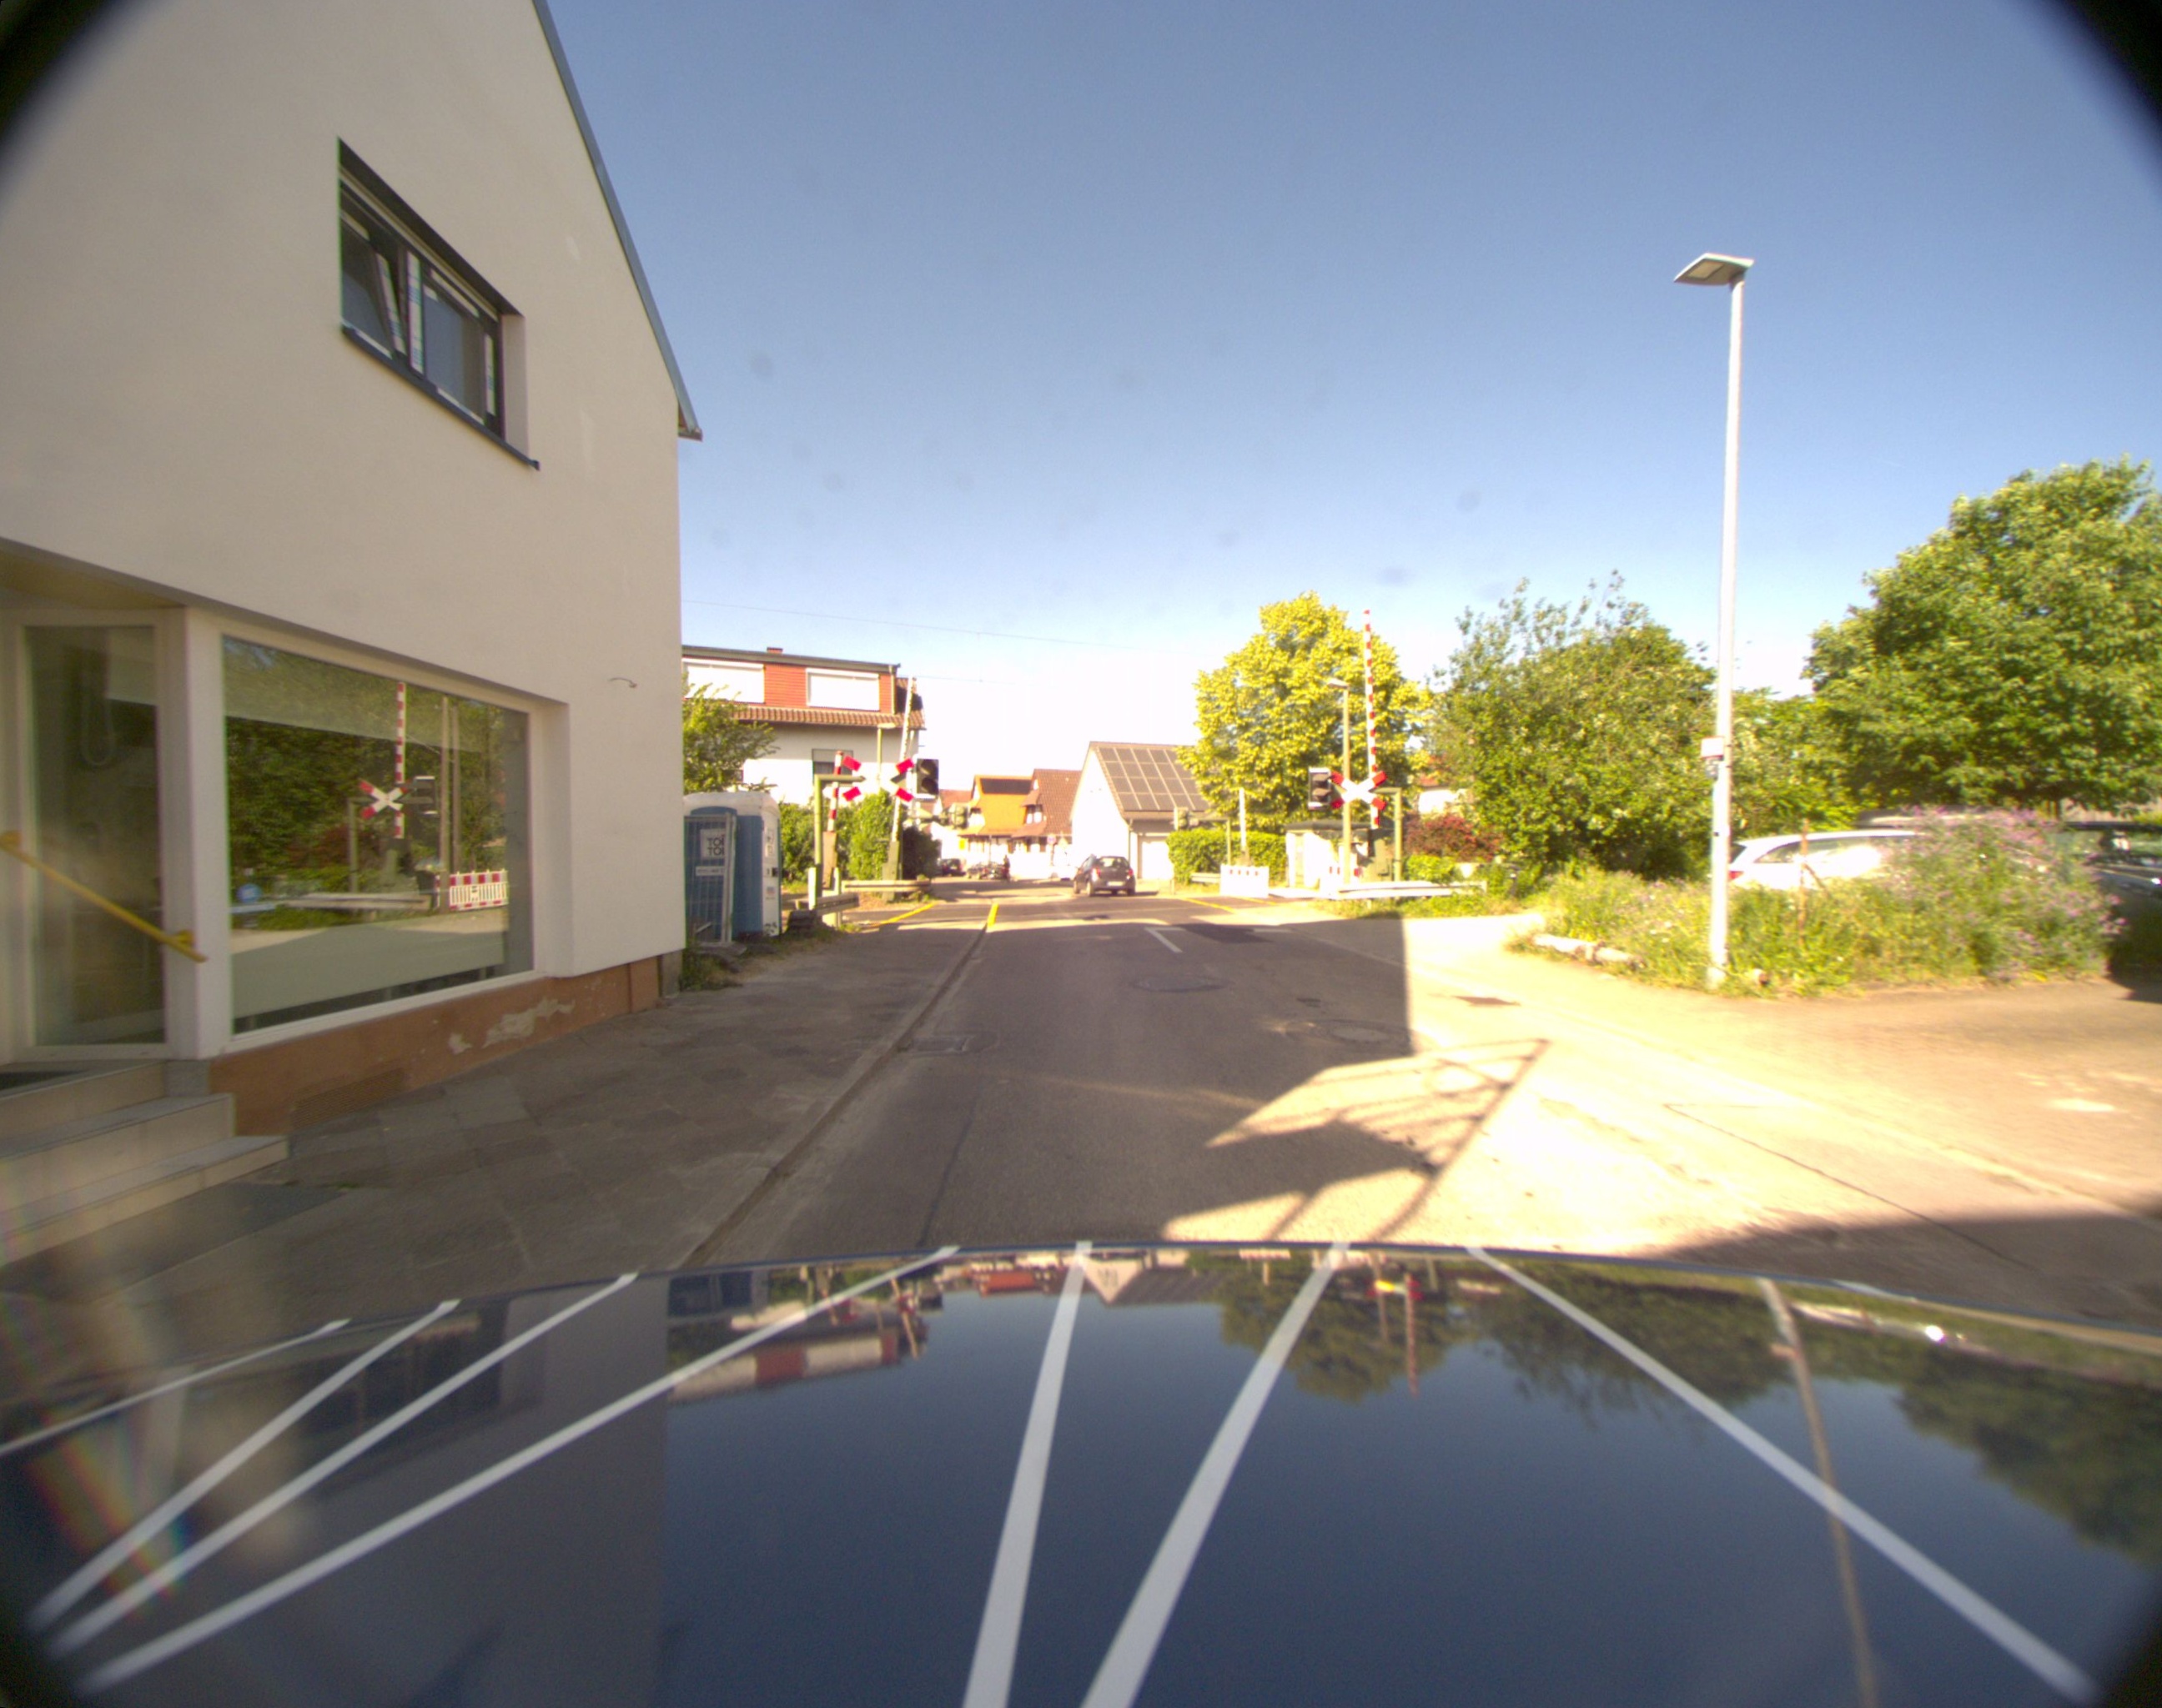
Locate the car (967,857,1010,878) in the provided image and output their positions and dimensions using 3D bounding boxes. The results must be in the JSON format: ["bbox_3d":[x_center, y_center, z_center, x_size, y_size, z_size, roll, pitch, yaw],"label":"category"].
[{"bbox_3d":[-6.804,0.966,55.476,1.853,1.398,5.026,0,0,-23],"label":"car"}]

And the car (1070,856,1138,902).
[{"bbox_3d":[0.766,0.870,27.987,1.692,1.501,3.650,0,1,-12],"label":"car"}]

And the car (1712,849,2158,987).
[{"bbox_3d":[11.668,0.765,10.830,3.988,1.555,1.692,-1,2,44],"label":"car"}]

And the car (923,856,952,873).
[{"bbox_3d":[-13.477,0.954,71.156,1.824,1.558,4.159,-1,1,-23],"label":"car"}]

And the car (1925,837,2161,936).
[{"bbox_3d":[17.964,0.526,13.509,3.821,1.624,1.655,0,2,44],"label":"car"}]

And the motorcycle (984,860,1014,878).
[{"bbox_3d":[-5.617,1.034,52.243,1.990,1.224,0.628,-1,0,21],"label":"motorcycle"}]

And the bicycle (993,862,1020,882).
[{"bbox_3d":[-4.395,1.039,44.733,0.887,1.000,2.058,-5,3,-23],"label":"bicycle"}]

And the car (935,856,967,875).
[{"bbox_3d":[-11.323,0.981,65.974,1.791,1.595,4.352,-1,0,-23],"label":"car"}]

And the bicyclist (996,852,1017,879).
[{"bbox_3d":[-4.382,0.669,44.662,0.851,1.533,0.871,-5,3,-22],"label":"bicyclist"}]
